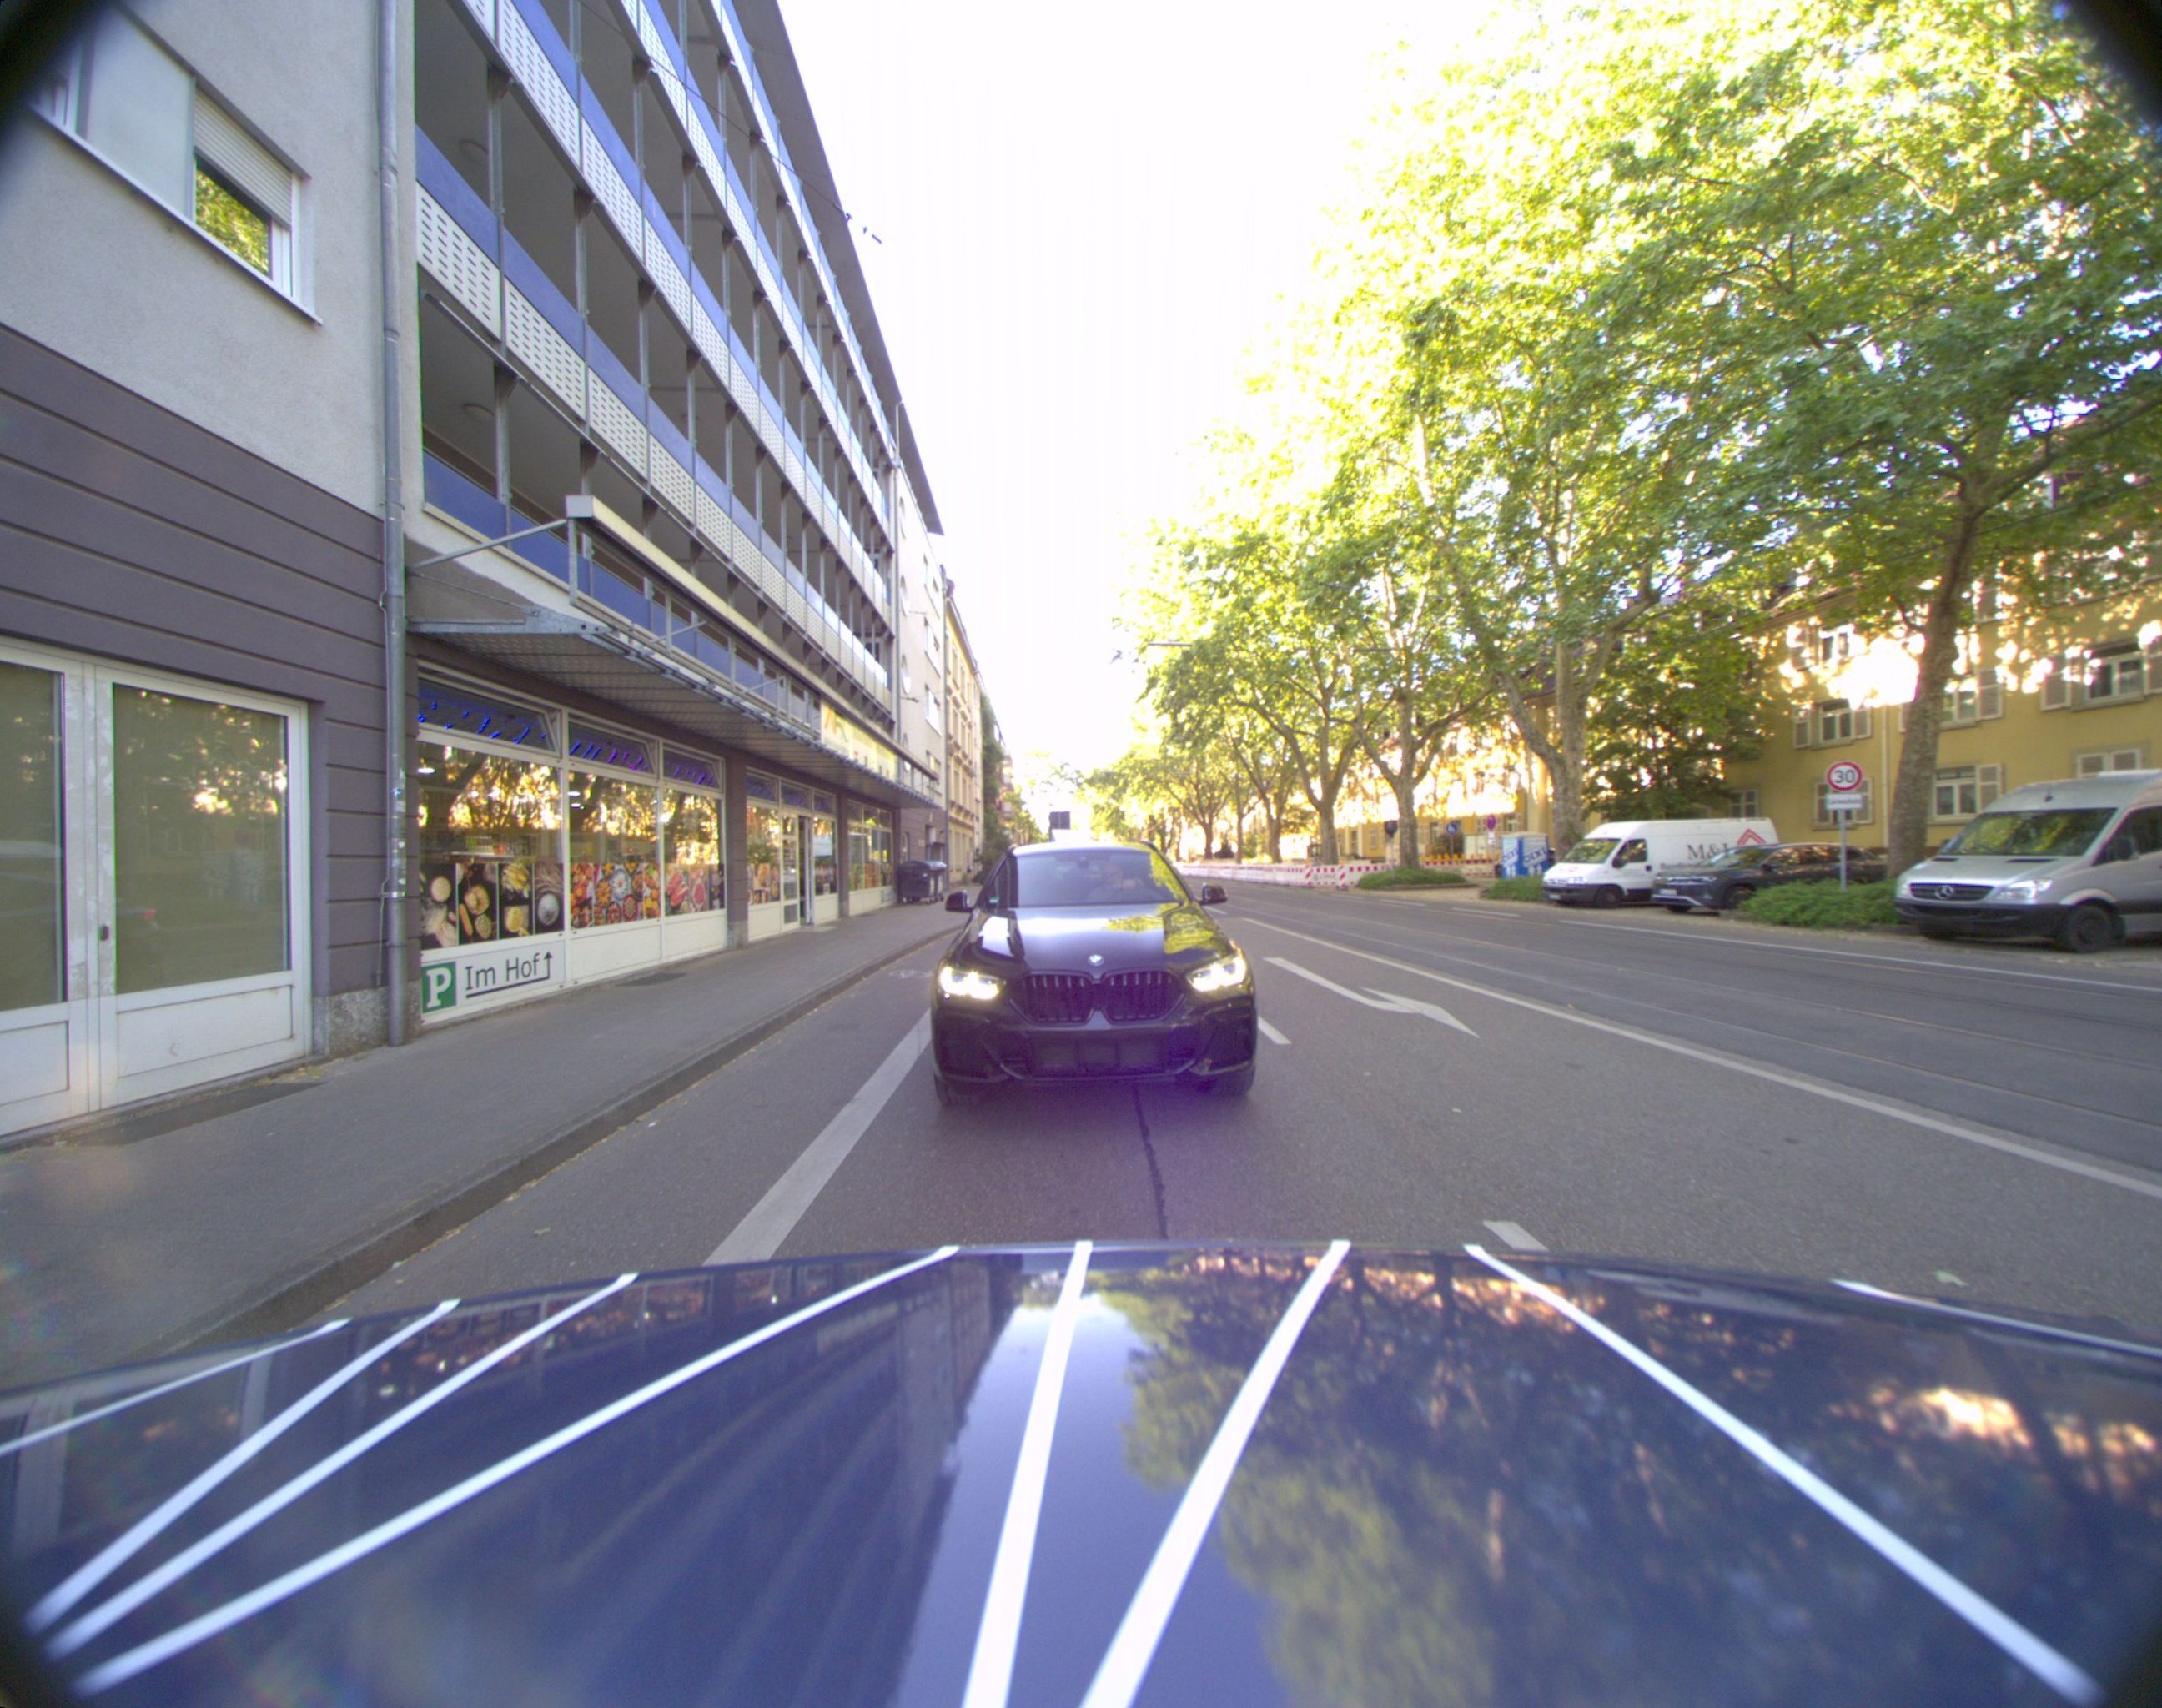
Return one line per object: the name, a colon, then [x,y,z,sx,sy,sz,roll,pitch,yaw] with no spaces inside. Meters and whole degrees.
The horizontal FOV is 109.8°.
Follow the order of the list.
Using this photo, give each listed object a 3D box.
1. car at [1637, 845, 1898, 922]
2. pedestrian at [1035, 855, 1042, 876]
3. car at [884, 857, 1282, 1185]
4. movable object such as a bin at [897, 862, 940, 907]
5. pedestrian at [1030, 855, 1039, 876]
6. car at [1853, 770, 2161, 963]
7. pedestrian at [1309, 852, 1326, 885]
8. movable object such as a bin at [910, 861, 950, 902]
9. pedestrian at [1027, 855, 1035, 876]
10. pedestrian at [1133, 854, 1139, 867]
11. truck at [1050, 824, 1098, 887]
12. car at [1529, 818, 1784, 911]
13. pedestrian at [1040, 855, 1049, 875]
car: [16.074,0.660,17.940,4.627,1.642,1.774,-1,0,-2]
pedestrian: [-3.873,1.044,69.549,0.600,1.875,0.581,-2,1,-1]
car: [0.040,0.860,6.017,1.998,1.643,4.295,-1,0,1]
movable object such as a bin: [-5.255,0.977,24.645,1.158,1.418,0.939,-1,0,1]
pedestrian: [-4.301,1.044,70.529,0.733,1.875,0.664,-2,1,-1]
car: [15.981,0.130,11.858,5.666,2.666,2.223,-2,0,-2]
pedestrian: [12.730,0.783,40.894,0.581,1.735,0.653,-1,2,44]
movable object such as a bin: [-5.287,0.954,26.683,1.158,1.418,0.939,-1,0,1]
pedestrian: [-4.574,1.075,69.135,0.600,1.875,0.581,-2,1,-1]
pedestrian: [7.979,0.972,111.018,0.733,1.875,0.741,-2,1,-2]
truck: [-0.319,0.122,42.167,2.394,3.170,6.587,-1,0,1]
car: [15.841,0.292,21.147,5.404,2.362,2.223,-1,0,0]
pedestrian: [-3.403,1.015,70.358,0.733,1.875,0.664,-2,1,-1]
